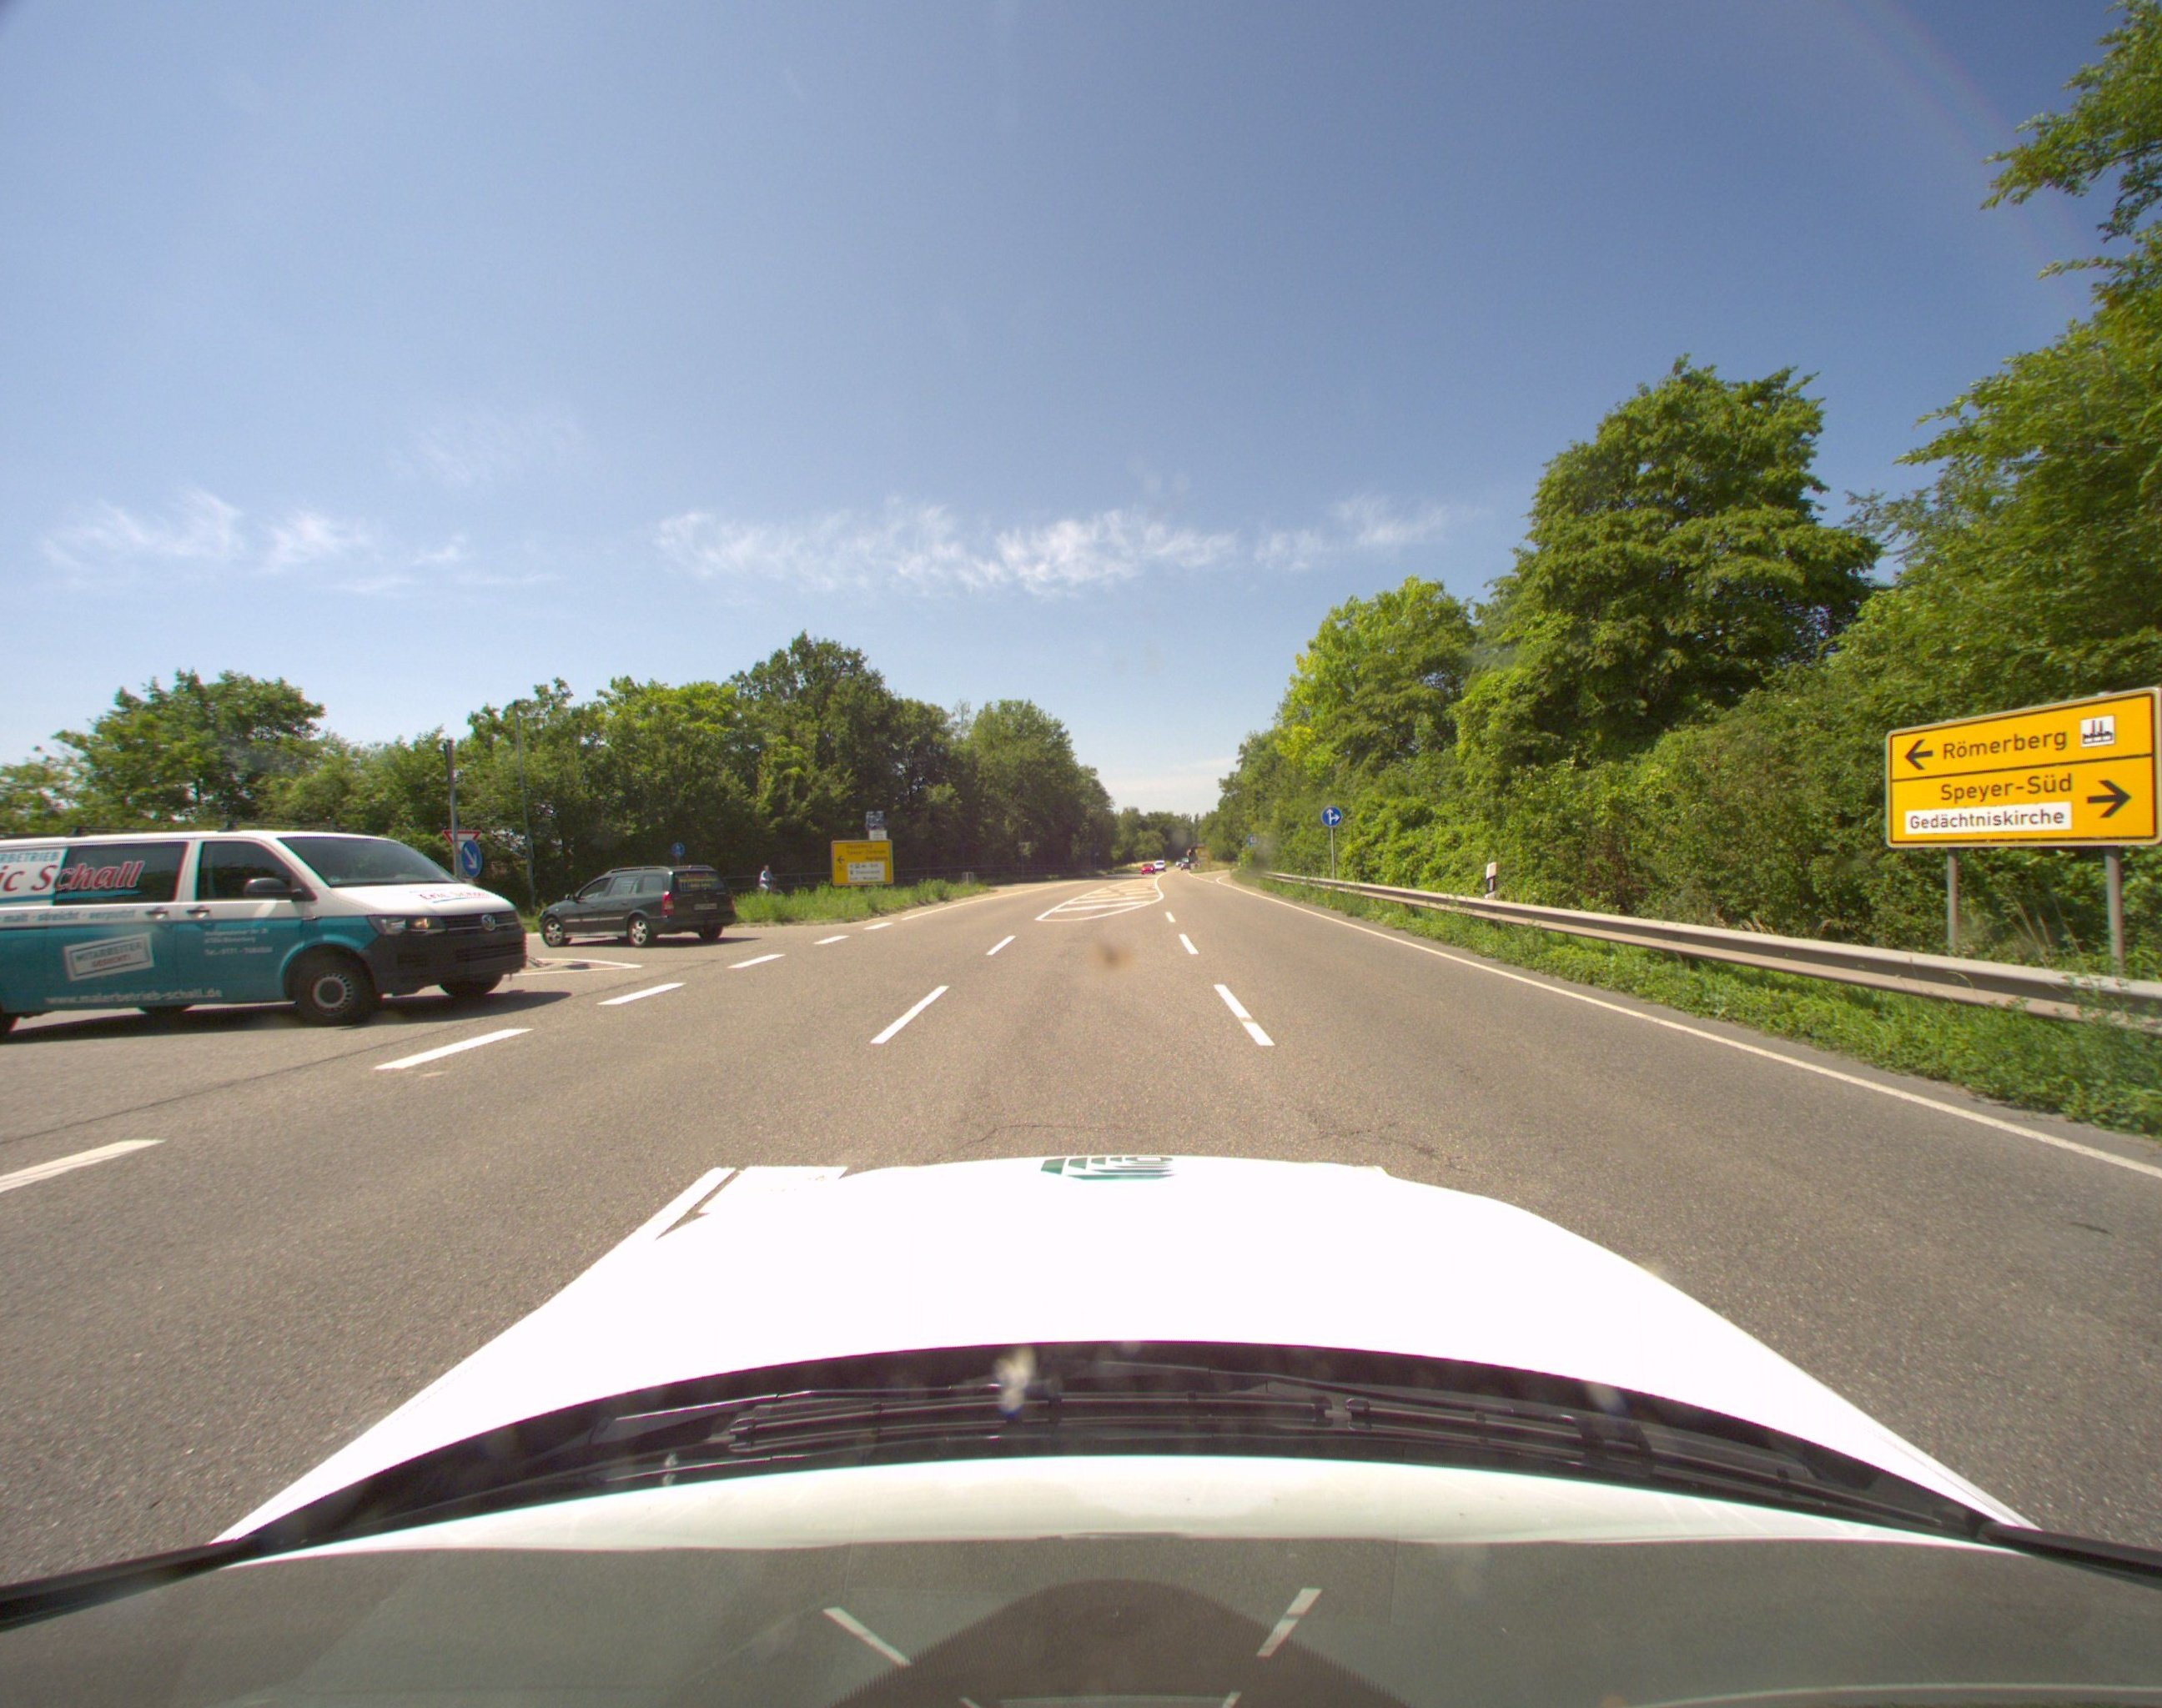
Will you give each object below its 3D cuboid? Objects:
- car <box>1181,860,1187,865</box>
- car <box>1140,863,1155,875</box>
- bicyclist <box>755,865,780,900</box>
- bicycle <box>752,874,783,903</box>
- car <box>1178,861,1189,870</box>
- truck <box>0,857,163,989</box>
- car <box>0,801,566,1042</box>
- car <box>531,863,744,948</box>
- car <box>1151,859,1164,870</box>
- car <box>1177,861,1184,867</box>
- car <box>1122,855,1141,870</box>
[{"bbox_3d":[31.956,2.553,252.527,1.710,1.528,3.718,-2,0,9],"label":"car"},{"bbox_3d":[8.732,1.946,106.658,1.801,1.458,3.764,-1,0,6],"label":"car"},{"bbox_3d":[-12.585,1.141,32.678,0.601,1.363,0.694,-2,-1,38],"label":"bicyclist"},{"bbox_3d":[-12.589,1.383,32.669,1.463,1.113,0.439,-2,-1,38],"label":"bicycle"},{"bbox_3d":[19.305,2.153,153.389,1.834,1.684,4.007,-1,0,6],"label":"car"},{"bbox_3d":[-23.967,1.563,16.951,6.609,2.565,2.141,-4,0,-6],"label":"truck"},{"bbox_3d":[-8.696,0.657,8.560,5.154,2.027,2.000,-3,0,0],"label":"car"},{"bbox_3d":[-8.706,0.991,15.986,3.750,1.457,1.736,-3,0,25],"label":"car"},{"bbox_3d":[12.860,1.811,136.457,1.984,1.730,4.281,-2,0,6],"label":"car"},{"bbox_3d":[25.208,2.483,205.829,1.668,1.527,4.008,-2,0,7],"label":"car"},{"bbox_3d":[11.011,1.795,178.660,2.004,3.226,4.767,-1,0,-26],"label":"car"}]
